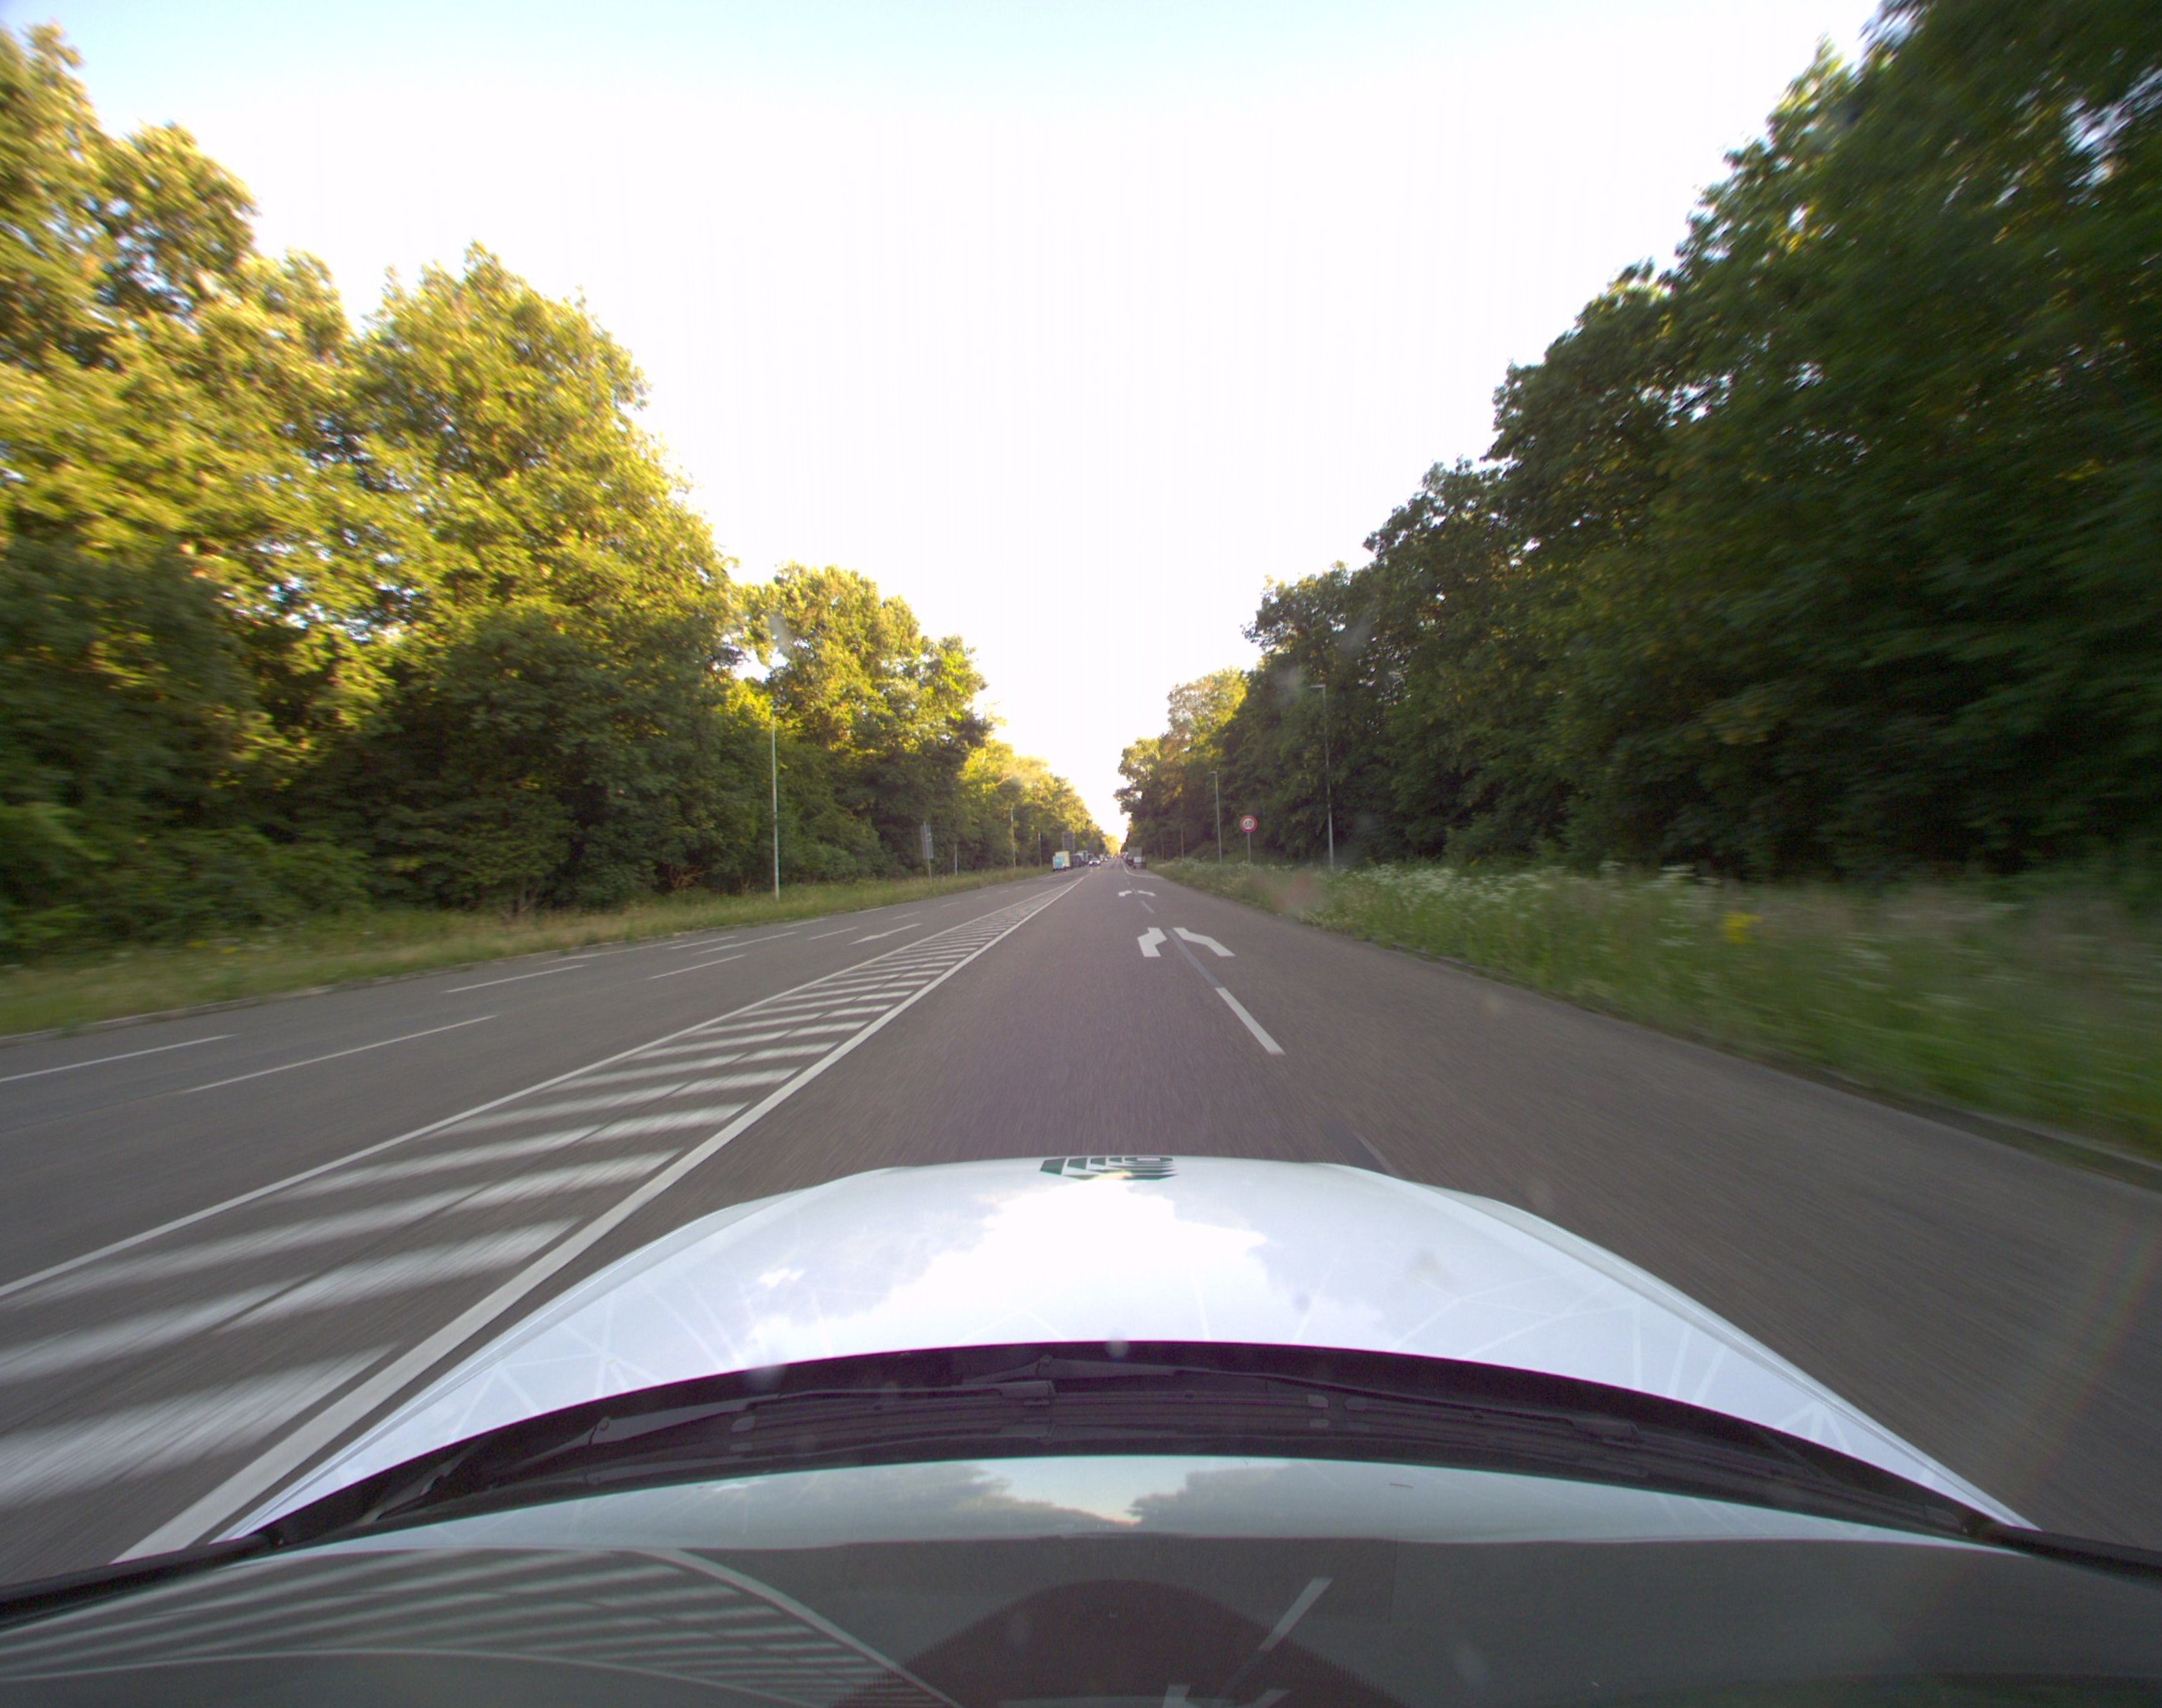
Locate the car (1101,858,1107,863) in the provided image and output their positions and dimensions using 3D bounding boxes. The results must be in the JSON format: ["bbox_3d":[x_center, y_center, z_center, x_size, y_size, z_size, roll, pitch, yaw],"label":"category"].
[{"bbox_3d":[7.191,1.906,258.702,1.677,1.486,4.037,-3,0,0],"label":"car"}]

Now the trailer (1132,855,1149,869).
[{"bbox_3d":[7.899,1.038,107.863,1.445,1.662,3.793,-3,0,16],"label":"trailer"}]

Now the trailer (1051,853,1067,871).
[{"bbox_3d":[-2.890,1.025,108.395,1.810,2.167,4.144,-3,0,2],"label":"trailer"}]

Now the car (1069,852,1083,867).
[{"bbox_3d":[-0.920,0.988,149.252,1.986,2.364,5.769,-5,0,2],"label":"car"}]

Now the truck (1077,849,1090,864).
[{"bbox_3d":[0.608,0.602,192.425,2.494,3.328,6.846,-3,0,2],"label":"truck"}]

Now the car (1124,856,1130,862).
[{"bbox_3d":[11.934,1.350,213.096,1.144,1.251,2.754,-11,1,0],"label":"car"}]

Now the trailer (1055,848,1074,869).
[{"bbox_3d":[-2.468,0.725,124.011,2.317,2.924,5.629,-5,0,2],"label":"trailer"}]

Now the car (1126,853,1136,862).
[{"bbox_3d":[10.684,0.764,174.108,1.987,1.955,4.299,-1,0,0],"label":"car"}]

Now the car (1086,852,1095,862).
[{"bbox_3d":[2.744,0.807,227.038,2.178,2.788,5.337,-3,0,2],"label":"car"}]

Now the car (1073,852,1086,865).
[{"bbox_3d":[-0.204,0.895,166.845,2.240,2.647,5.725,-3,0,2],"label":"car"}]

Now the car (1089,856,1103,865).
[{"bbox_3d":[2.822,1.218,152.176,2.054,1.435,4.472,-5,0,5],"label":"car"}]

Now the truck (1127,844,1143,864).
[{"bbox_3d":[9.274,0.005,140.214,2.577,3.255,7.228,-1,0,4],"label":"truck"}]
